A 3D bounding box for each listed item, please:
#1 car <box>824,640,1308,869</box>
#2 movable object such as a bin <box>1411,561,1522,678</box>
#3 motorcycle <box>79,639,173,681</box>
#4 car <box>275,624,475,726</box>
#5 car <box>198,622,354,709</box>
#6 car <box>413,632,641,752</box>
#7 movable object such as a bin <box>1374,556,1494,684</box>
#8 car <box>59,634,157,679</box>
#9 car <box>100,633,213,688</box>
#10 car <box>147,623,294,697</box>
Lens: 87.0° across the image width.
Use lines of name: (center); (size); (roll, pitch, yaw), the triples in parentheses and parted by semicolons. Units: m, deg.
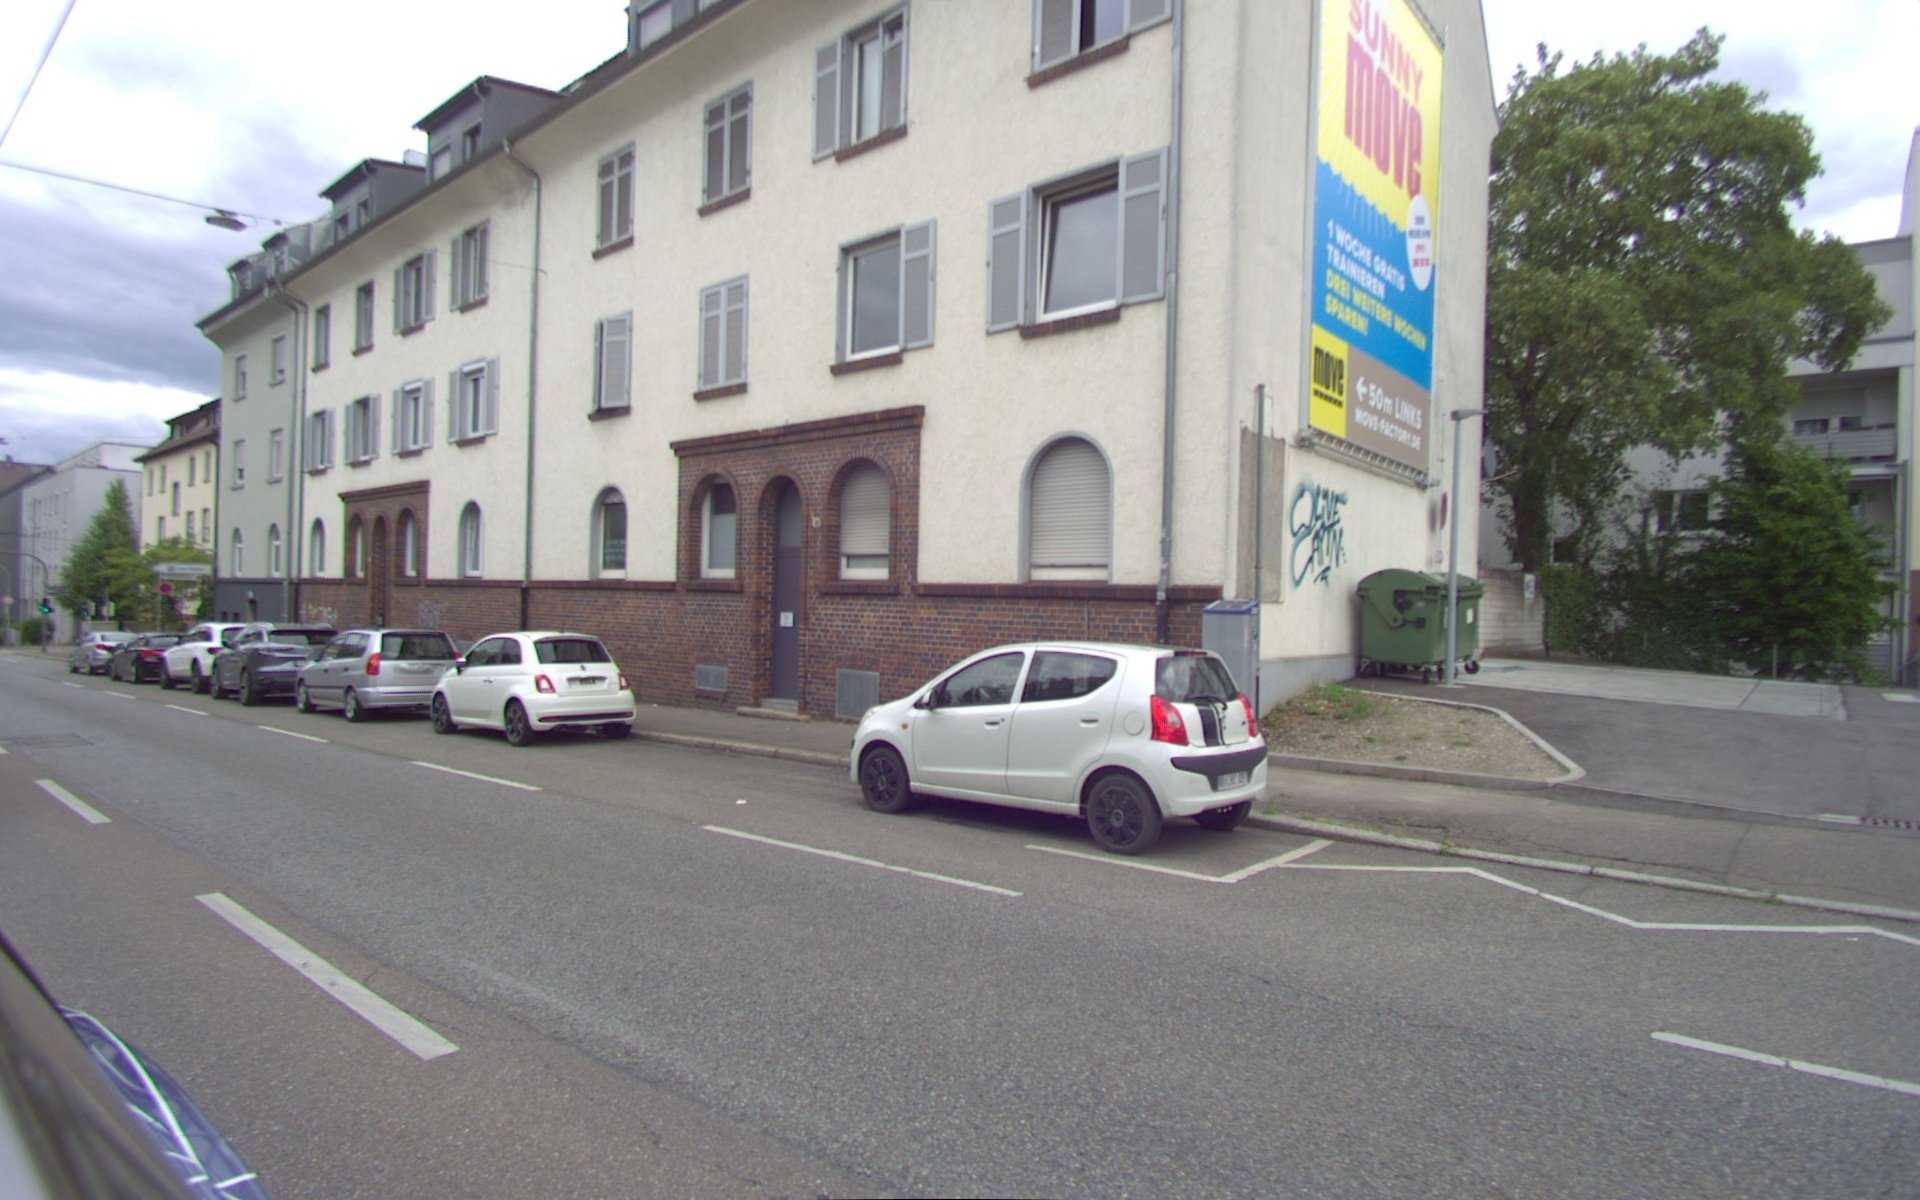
car: (0.710, 1.043, 8.204); (3.663, 1.436, 1.602); (-2, -3, 42)
movable object such as a bin: (7.076, 0.295, 14.130); (1.104, 1.550, 1.251); (-2, -4, 41)
motorcycle: (-25.583, 1.864, 31.099); (0.802, 1.245, 2.030); (-1, -4, 23)
car: (-10.289, 1.255, 17.704); (4.079, 1.570, 1.709); (-1, -5, 41)
car: (-14.195, 1.288, 20.889); (4.502, 1.611, 1.708); (-2, -3, 43)
car: (-6.203, 1.210, 14.348); (3.602, 1.486, 1.531); (-2, -3, 41)
movable object such as a bin: (6.135, 0.281, 13.092); (1.104, 1.550, 1.251); (-2, -4, 41)
car: (-28.036, 1.815, 33.253); (4.333, 1.385, 1.709); (-2, -3, 40)
car: (-22.642, 1.648, 28.469); (4.189, 1.440, 1.709); (-2, -3, 41)
car: (-18.025, 1.420, 24.580); (4.640, 1.634, 1.826); (-2, -3, 40)
